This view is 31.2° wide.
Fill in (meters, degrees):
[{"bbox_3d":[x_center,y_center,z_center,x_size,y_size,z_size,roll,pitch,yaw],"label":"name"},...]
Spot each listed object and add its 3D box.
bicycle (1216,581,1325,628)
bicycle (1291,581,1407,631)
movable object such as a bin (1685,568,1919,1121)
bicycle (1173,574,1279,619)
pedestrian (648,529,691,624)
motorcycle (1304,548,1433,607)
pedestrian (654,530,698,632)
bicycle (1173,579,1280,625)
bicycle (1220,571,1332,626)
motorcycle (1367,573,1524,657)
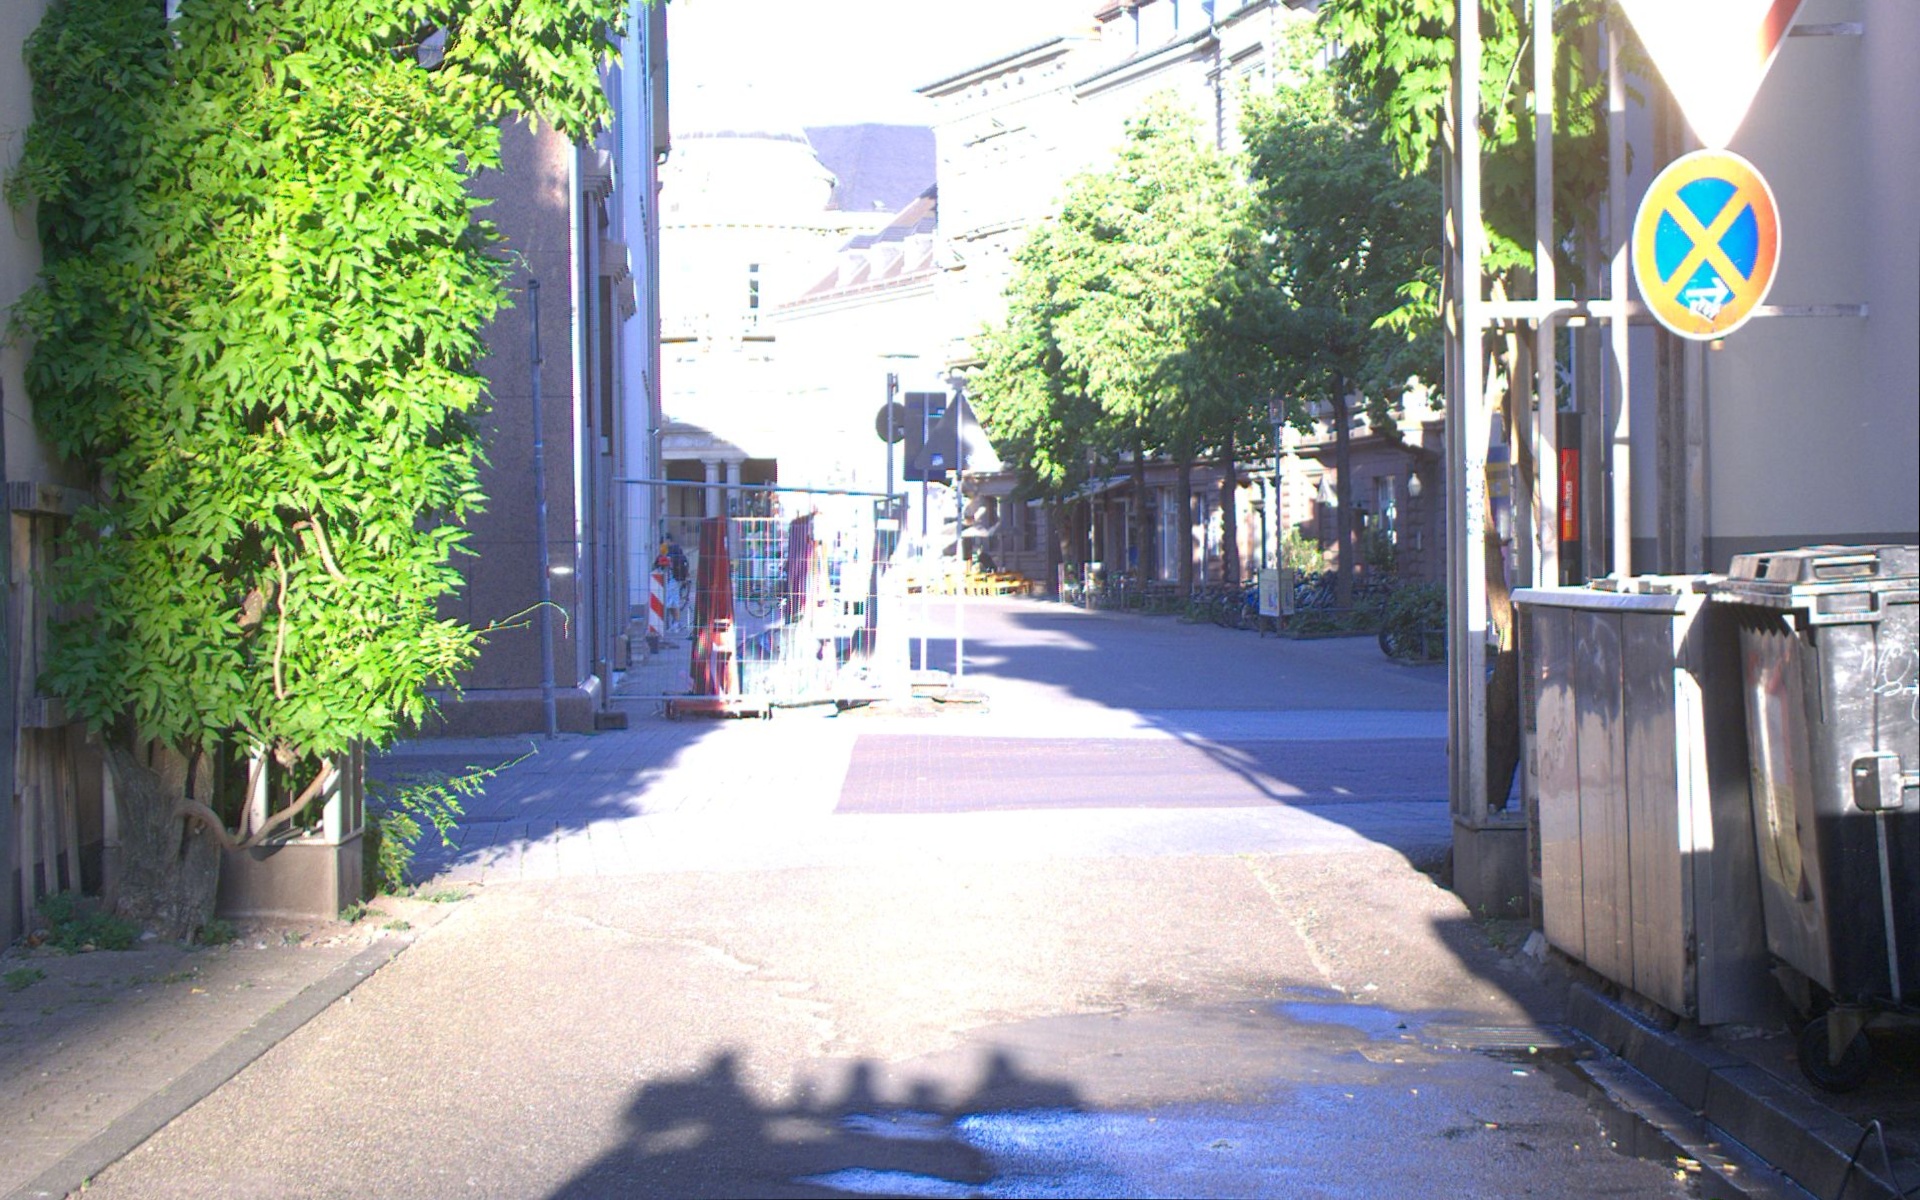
[{"bbox_3d":[6.426,0.088,71.101,2.152,0.922,0.591,-1,0,-9],"label":"bicycle"},{"bbox_3d":[7.543,0.118,66.687,2.152,0.922,0.591,-1,0,-17],"label":"bicycle"},{"bbox_3d":[2.452,0.584,8.980,0.836,1.300,1.290,-3,1,3],"label":"movable object such as a bin"},{"bbox_3d":[5.653,-0.076,73.184,2.152,0.922,0.591,-1,0,-9],"label":"bicycle"},{"bbox_3d":[-5.093,-0.411,60.283,0.654,1.646,0.634,-1,1,3],"label":"pedestrian"},{"bbox_3d":[7.814,-0.434,65.677,2.470,1.091,0.591,-1,0,-24],"label":"motorcycle"},{"bbox_3d":[-4.918,-0.333,59.610,0.654,1.758,0.634,-1,1,3],"label":"pedestrian"},{"bbox_3d":[5.583,0.046,72.076,2.152,0.922,0.591,-1,0,-9],"label":"bicycle"},{"bbox_3d":[6.313,-0.024,68.690,2.154,1.057,0.590,-1,0,12],"label":"bicycle"},{"bbox_3d":[6.953,0.214,49.245,2.152,1.147,0.494,-1,0,-4],"label":"motorcycle"}]
